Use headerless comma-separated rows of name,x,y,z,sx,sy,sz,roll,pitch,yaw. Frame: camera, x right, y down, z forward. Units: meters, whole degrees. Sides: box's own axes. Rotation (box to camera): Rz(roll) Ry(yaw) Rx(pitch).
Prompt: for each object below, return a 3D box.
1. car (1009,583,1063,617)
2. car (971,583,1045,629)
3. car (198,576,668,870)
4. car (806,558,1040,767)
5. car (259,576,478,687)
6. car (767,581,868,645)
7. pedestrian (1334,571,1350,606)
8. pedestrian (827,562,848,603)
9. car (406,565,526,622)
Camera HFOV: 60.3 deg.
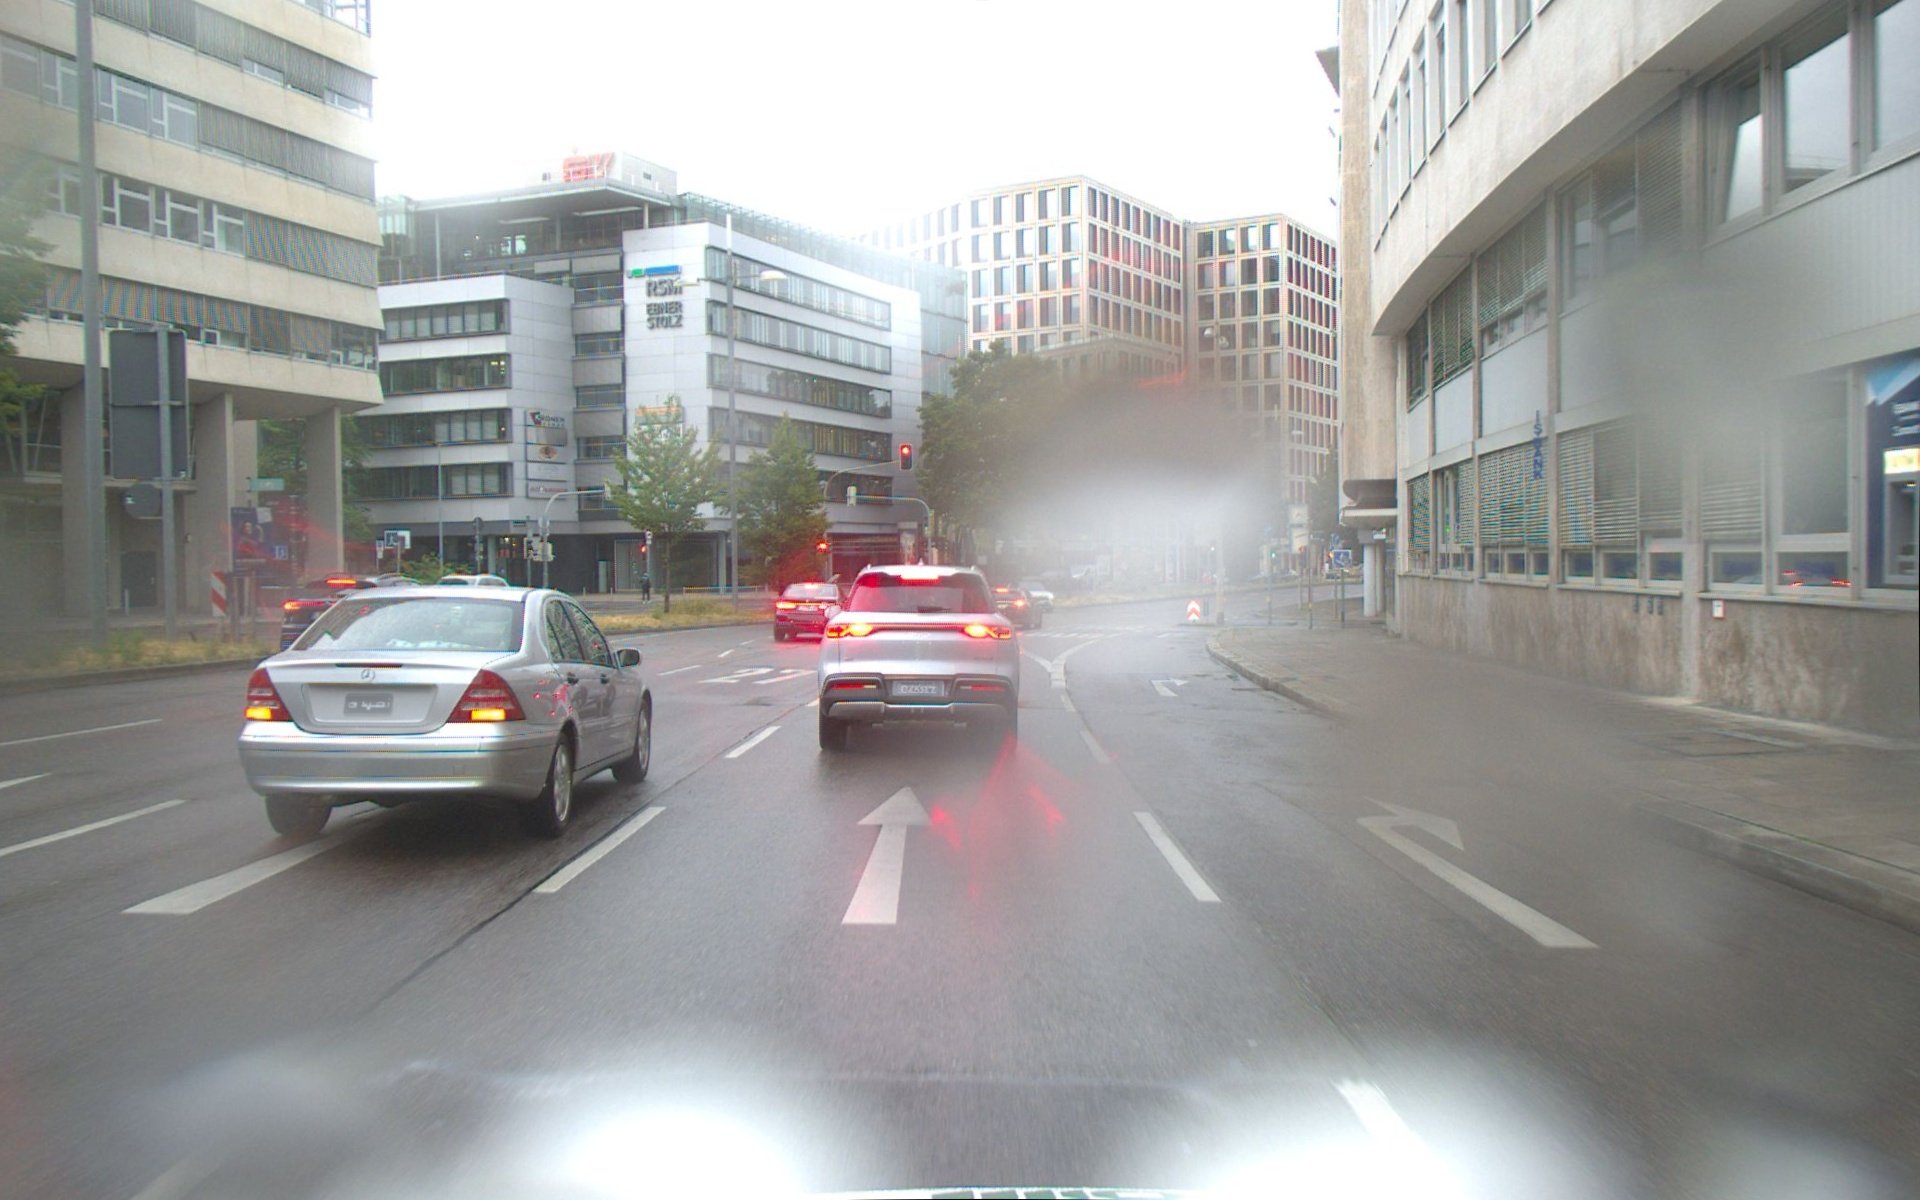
car,4.068,-0.022,89.381,1.958,1.780,4.519,0,1,-11
car,1.765,0.174,59.600,1.913,1.556,4.004,0,1,13
car,-3.103,0.608,10.682,1.647,1.512,4.197,0,1,1
car,-0.364,0.479,16.067,1.953,1.739,4.482,0,1,-2
car,-9.151,0.414,26.001,1.953,1.571,4.481,0,1,-2
car,-3.681,0.298,43.305,1.914,1.556,4.003,0,1,6
pedestrian,18.618,-0.543,80.607,0.712,1.698,0.691,0,0,17
pedestrian,-5.304,-0.777,71.558,0.903,1.768,0.729,0,1,-3
car,-16.298,-0.238,54.782,1.700,1.758,4.497,1,1,15
